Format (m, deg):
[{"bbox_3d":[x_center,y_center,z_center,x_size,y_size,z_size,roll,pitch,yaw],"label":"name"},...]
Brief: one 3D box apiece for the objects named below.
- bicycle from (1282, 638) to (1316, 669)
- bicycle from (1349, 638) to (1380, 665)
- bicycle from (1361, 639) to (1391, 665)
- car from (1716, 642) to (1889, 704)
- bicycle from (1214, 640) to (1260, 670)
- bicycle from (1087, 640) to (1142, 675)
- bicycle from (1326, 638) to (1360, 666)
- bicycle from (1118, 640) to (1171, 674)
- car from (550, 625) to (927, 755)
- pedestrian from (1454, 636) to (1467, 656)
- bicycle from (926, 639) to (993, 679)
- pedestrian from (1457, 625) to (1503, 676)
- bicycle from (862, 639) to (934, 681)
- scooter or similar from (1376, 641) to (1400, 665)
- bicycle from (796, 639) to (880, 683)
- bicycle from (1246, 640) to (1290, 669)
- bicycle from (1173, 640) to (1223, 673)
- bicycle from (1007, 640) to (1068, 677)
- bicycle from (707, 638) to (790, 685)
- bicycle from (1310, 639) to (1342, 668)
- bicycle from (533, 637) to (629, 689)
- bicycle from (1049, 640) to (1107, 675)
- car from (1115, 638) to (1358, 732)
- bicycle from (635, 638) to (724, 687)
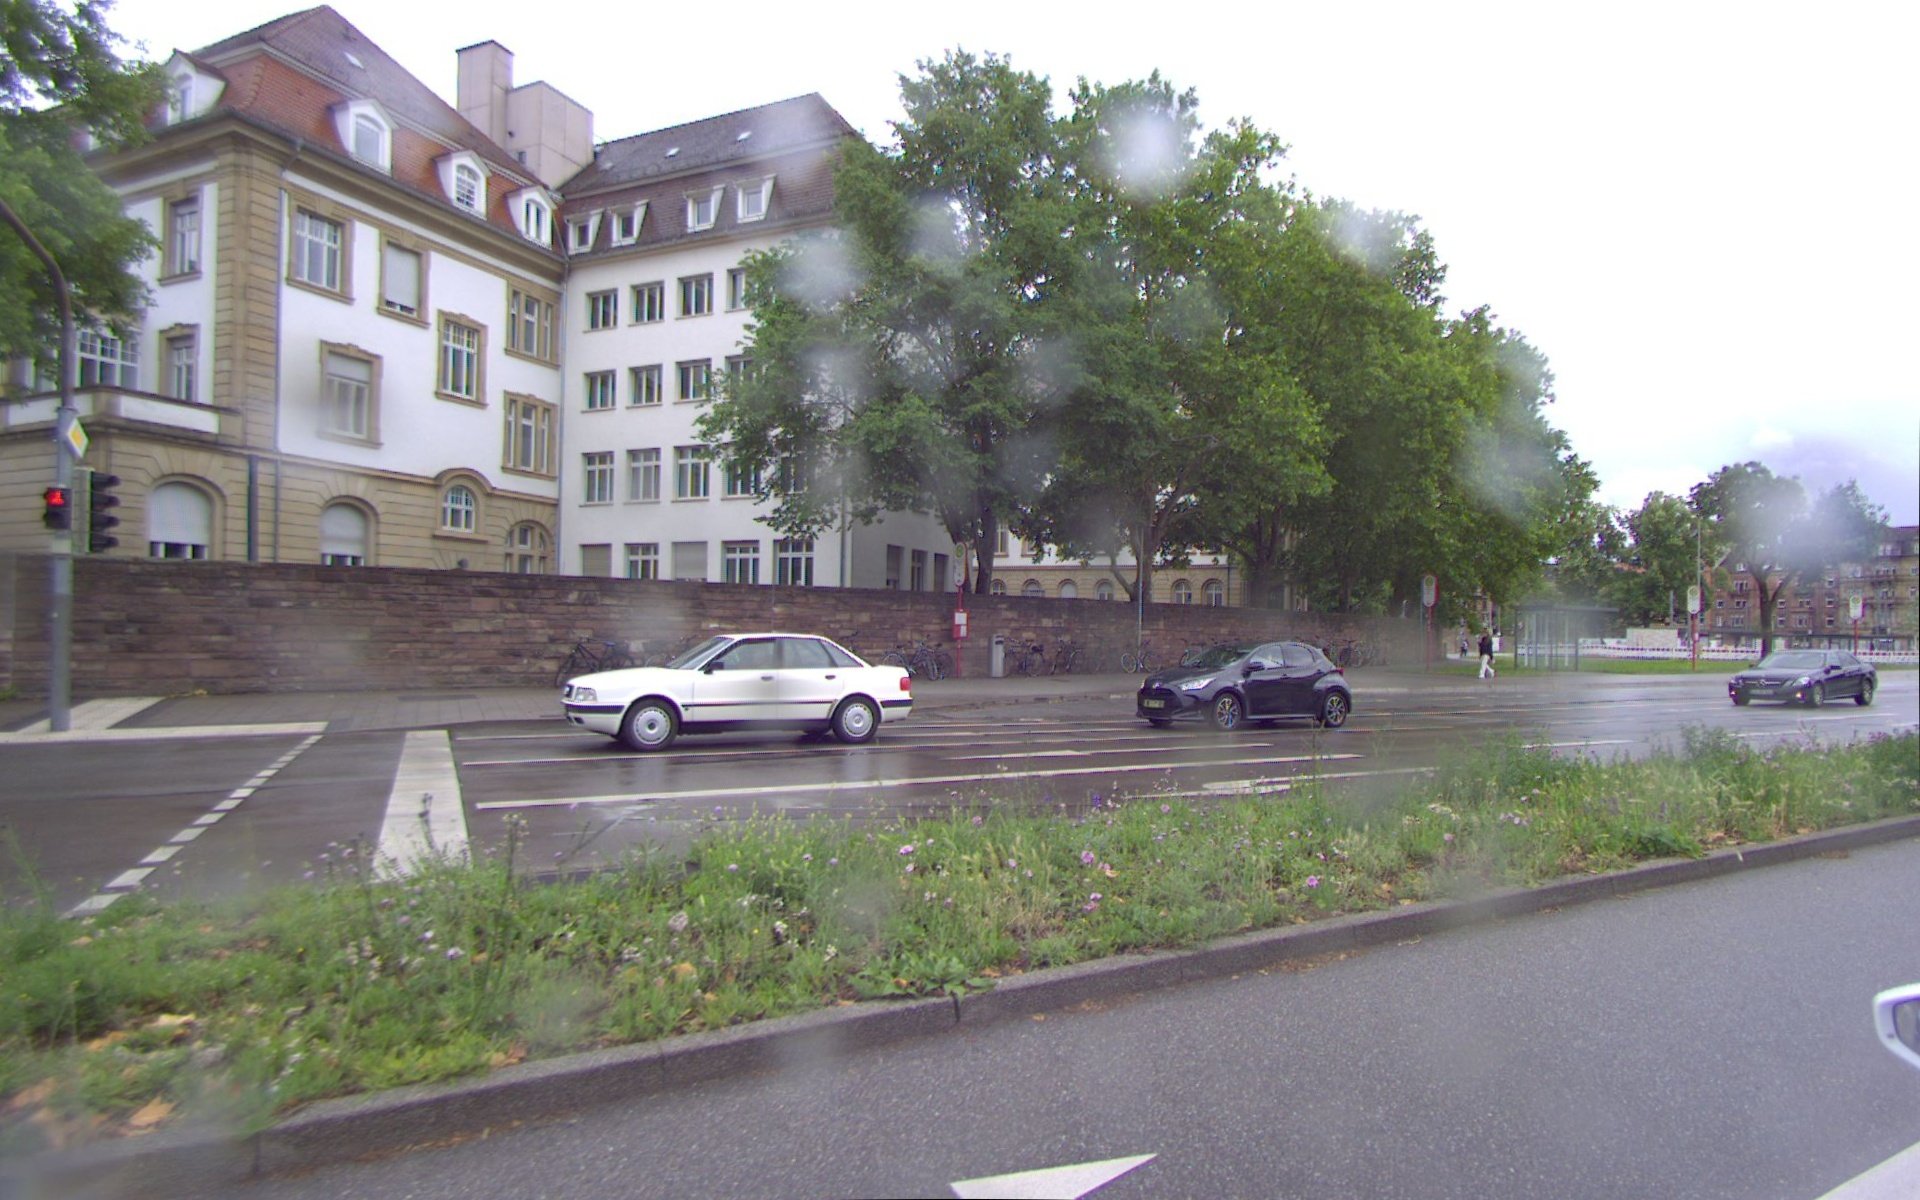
[{"bbox_3d":[13.178,2.063,39.023,0.566,1.151,1.982,0,-2,41],"label":"bicycle"},{"bbox_3d":[17.729,2.262,43.983,0.567,1.151,1.979,0,-2,44],"label":"bicycle"},{"bbox_3d":[18.927,2.348,45.656,0.567,1.151,1.979,0,-2,44],"label":"bicycle"},{"bbox_3d":[22.543,1.916,26.857,4.641,1.560,1.803,2,-3,-26],"label":"car"},{"bbox_3d":[9.750,1.914,35.288,1.688,0.996,0.725,2,-1,-41],"label":"bicycle"},{"bbox_3d":[4.707,1.739,30.581,1.688,0.996,0.725,2,-1,-41],"label":"bicycle"},{"bbox_3d":[16.159,2.195,42.352,0.567,1.151,1.979,0,-2,44],"label":"bicycle"},{"bbox_3d":[5.777,1.777,31.390,1.688,0.996,0.725,2,-1,-41],"label":"bicycle"},{"bbox_3d":[-2.765,1.089,12.906,4.469,1.434,1.589,2,-3,-29],"label":"car"},{"bbox_3d":[46.228,4.250,92.750,0.764,1.801,0.721,2,-1,-26],"label":"pedestrian"},{"bbox_3d":[-0.002,1.548,26.553,1.688,0.996,0.725,2,-1,-41],"label":"bicycle"},{"bbox_3d":[18.023,1.730,34.797,1.386,1.718,0.862,2,-1,-36],"label":"pedestrian"},{"bbox_3d":[-1.534,1.485,25.035,1.688,0.996,0.725,2,-1,-41],"label":"bicycle"},{"bbox_3d":[19.894,2.450,46.725,0.566,1.060,1.354,0,-2,44],"label":"scooter or similar"},{"bbox_3d":[-2.859,1.429,23.698,1.847,0.996,0.726,2,-1,-36],"label":"bicycle"},{"bbox_3d":[11.214,1.979,36.559,1.688,0.996,0.725,2,-1,-41],"label":"bicycle"},{"bbox_3d":[7.746,1.827,32.636,1.688,0.996,0.725,2,-1,-41],"label":"bicycle"},{"bbox_3d":[2.195,1.624,28.190,1.688,0.996,0.725,2,-1,-41],"label":"bicycle"},{"bbox_3d":[-4.764,1.374,22.692,1.688,0.996,0.725,2,-1,-41],"label":"bicycle"},{"bbox_3d":[14.861,2.159,40.745,0.566,1.151,1.982,0,-2,41],"label":"bicycle"},{"bbox_3d":[-7.699,1.271,20.444,1.688,0.996,0.725,2,-1,-41],"label":"bicycle"},{"bbox_3d":[3.451,1.673,29.397,1.688,0.996,0.725,2,-1,-41],"label":"bicycle"},{"bbox_3d":[4.727,1.387,17.069,4.017,1.434,1.617,2,-3,-29],"label":"car"},{"bbox_3d":[-5.980,1.324,21.467,1.688,0.996,0.725,2,-1,-41],"label":"bicycle"}]
